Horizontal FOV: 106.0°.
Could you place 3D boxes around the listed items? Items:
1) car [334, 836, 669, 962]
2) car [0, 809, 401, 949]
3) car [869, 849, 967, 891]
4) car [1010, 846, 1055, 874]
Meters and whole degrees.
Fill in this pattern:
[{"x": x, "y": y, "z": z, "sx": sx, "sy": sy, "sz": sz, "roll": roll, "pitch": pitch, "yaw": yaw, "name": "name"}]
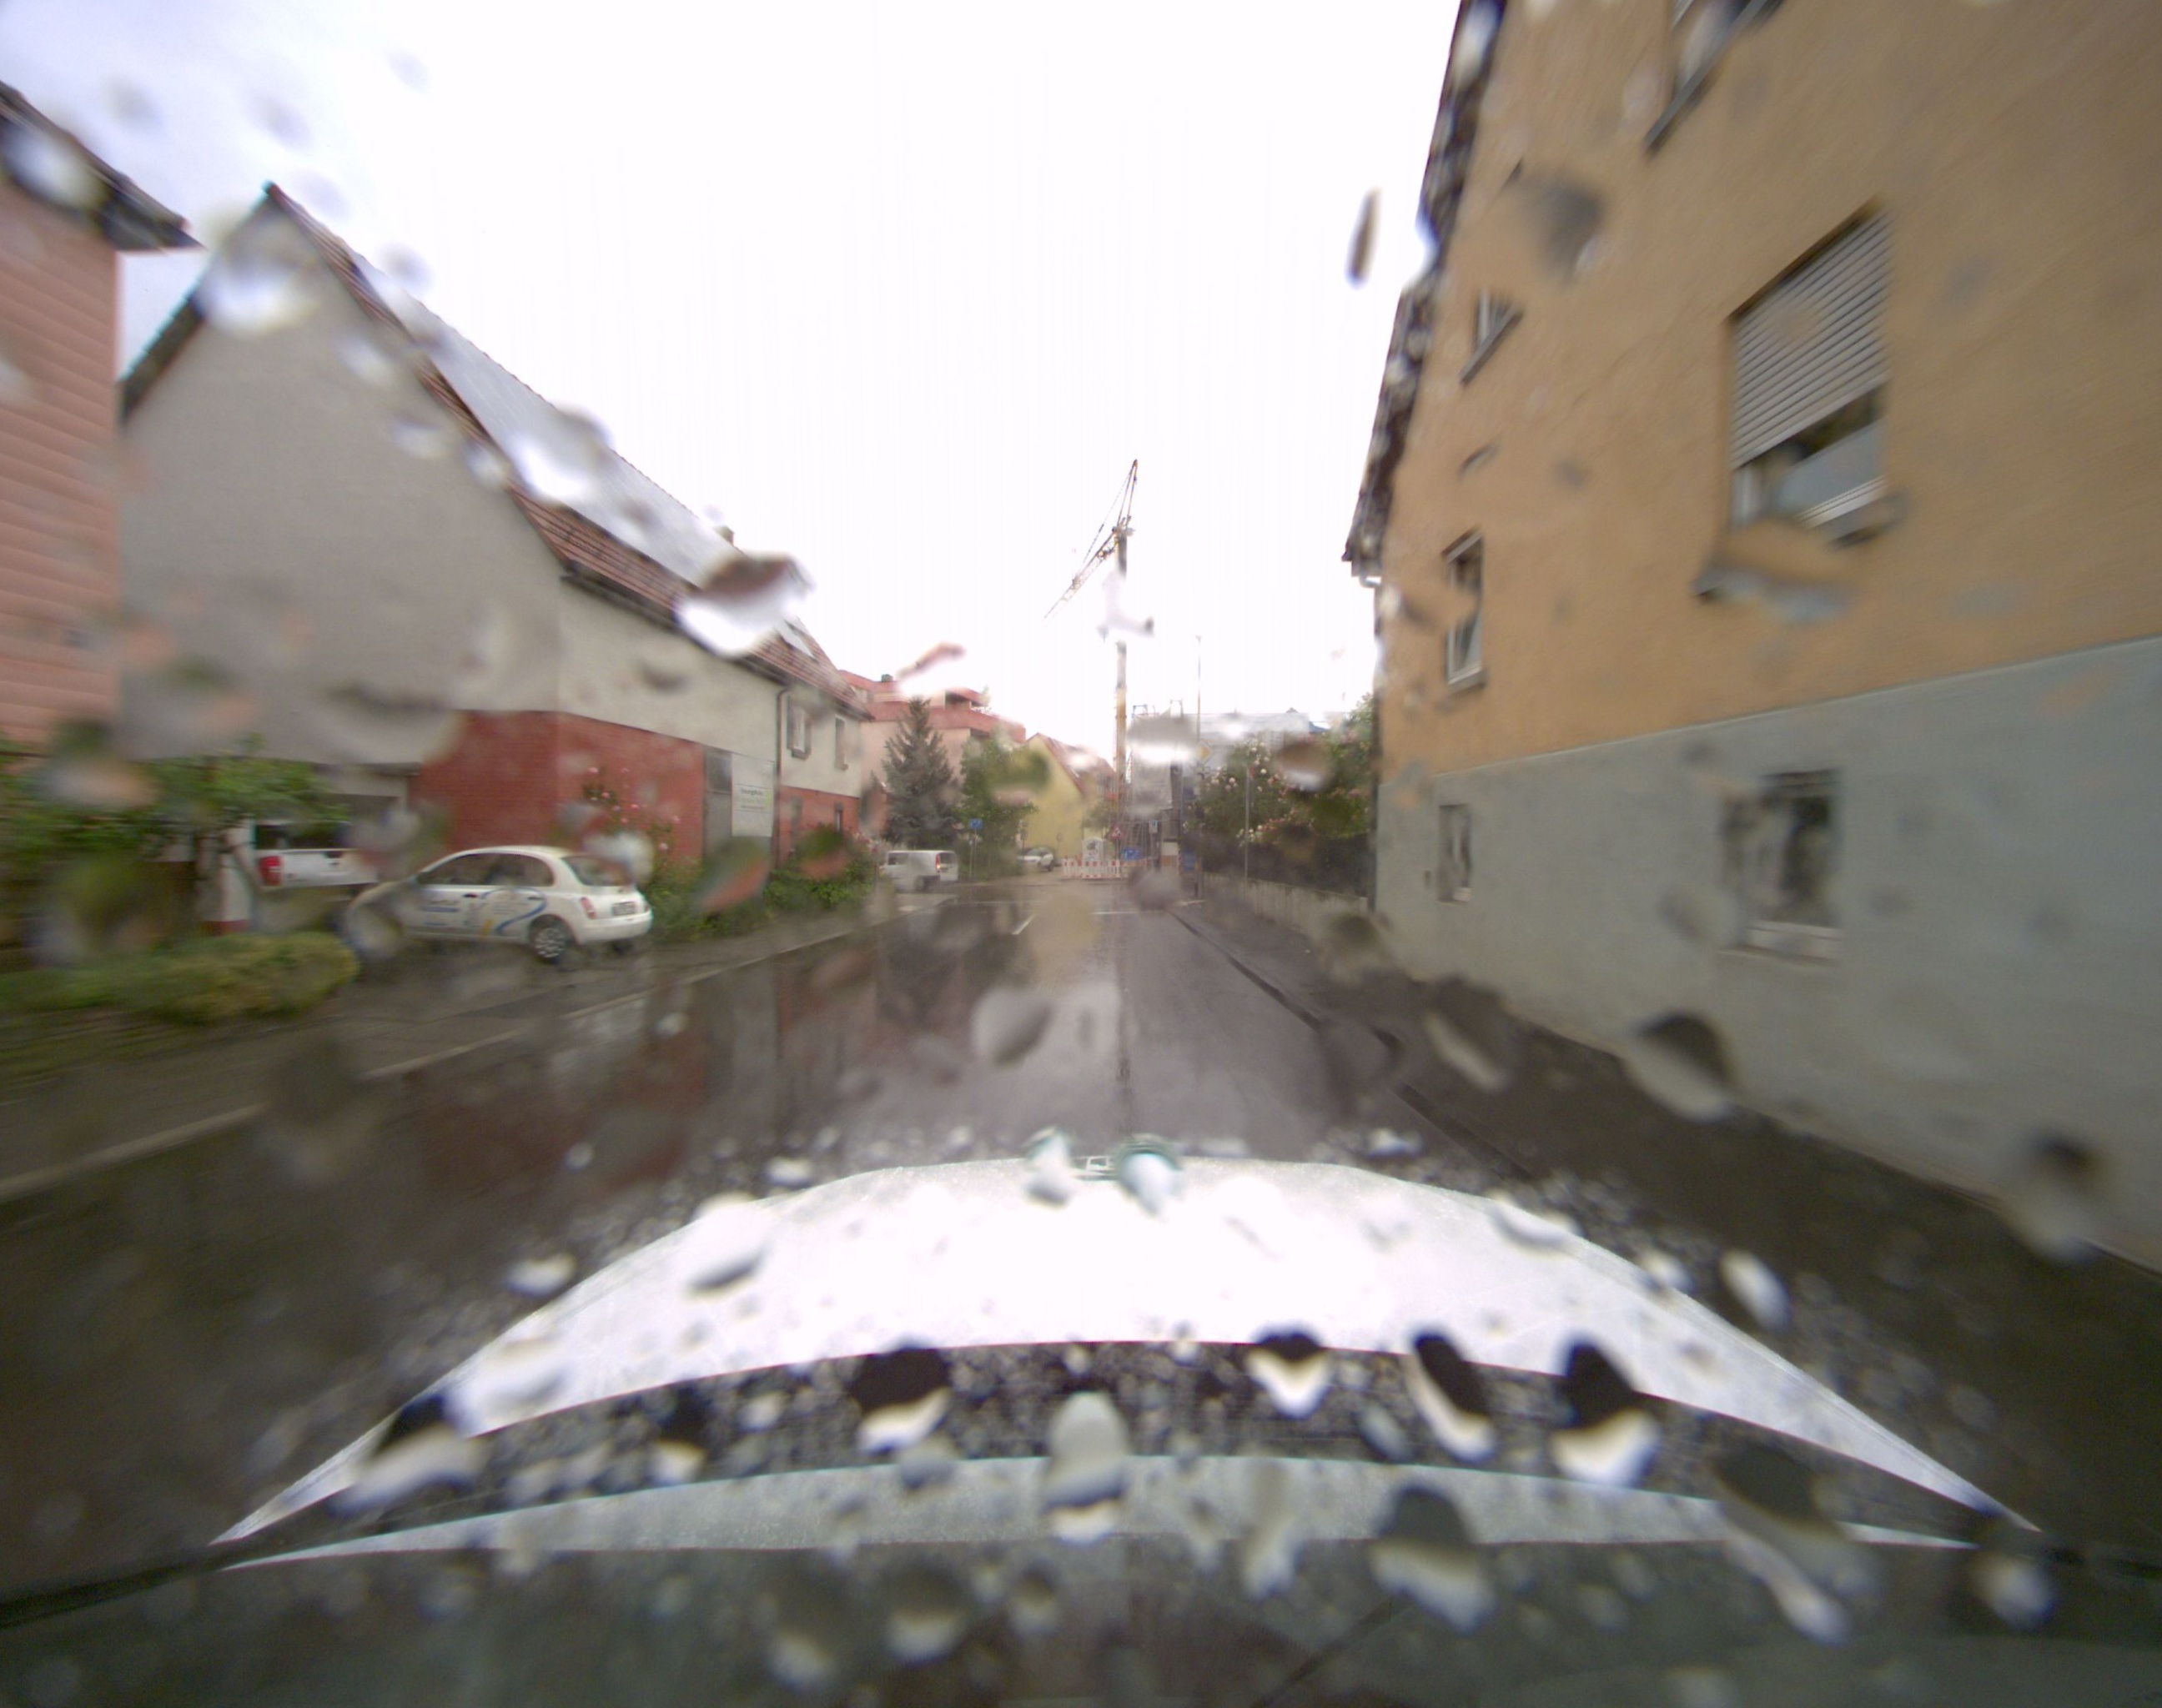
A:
[{"x": -8.116, "y": 0.593, "z": 11.634, "sx": 3.531, "sy": 1.529, "sz": 1.664, "roll": 2, "pitch": 0, "yaw": 2, "name": "car"}, {"x": -12.806, "y": 0.343, "z": 12.003, "sx": 3.974, "sy": 1.764, "sz": 1.758, "roll": 2, "pitch": 0, "yaw": 0, "name": "car"}, {"x": -7.648, "y": 0.739, "z": 38.178, "sx": 3.951, "sy": 1.869, "sz": 2.201, "roll": 0, "pitch": -1, "yaw": 24, "name": "car"}, {"x": -3.070, "y": 0.342, "z": 52.489, "sx": 1.588, "sy": 1.677, "sz": 3.956, "roll": 1, "pitch": 2, "yaw": 16, "name": "car"}]
